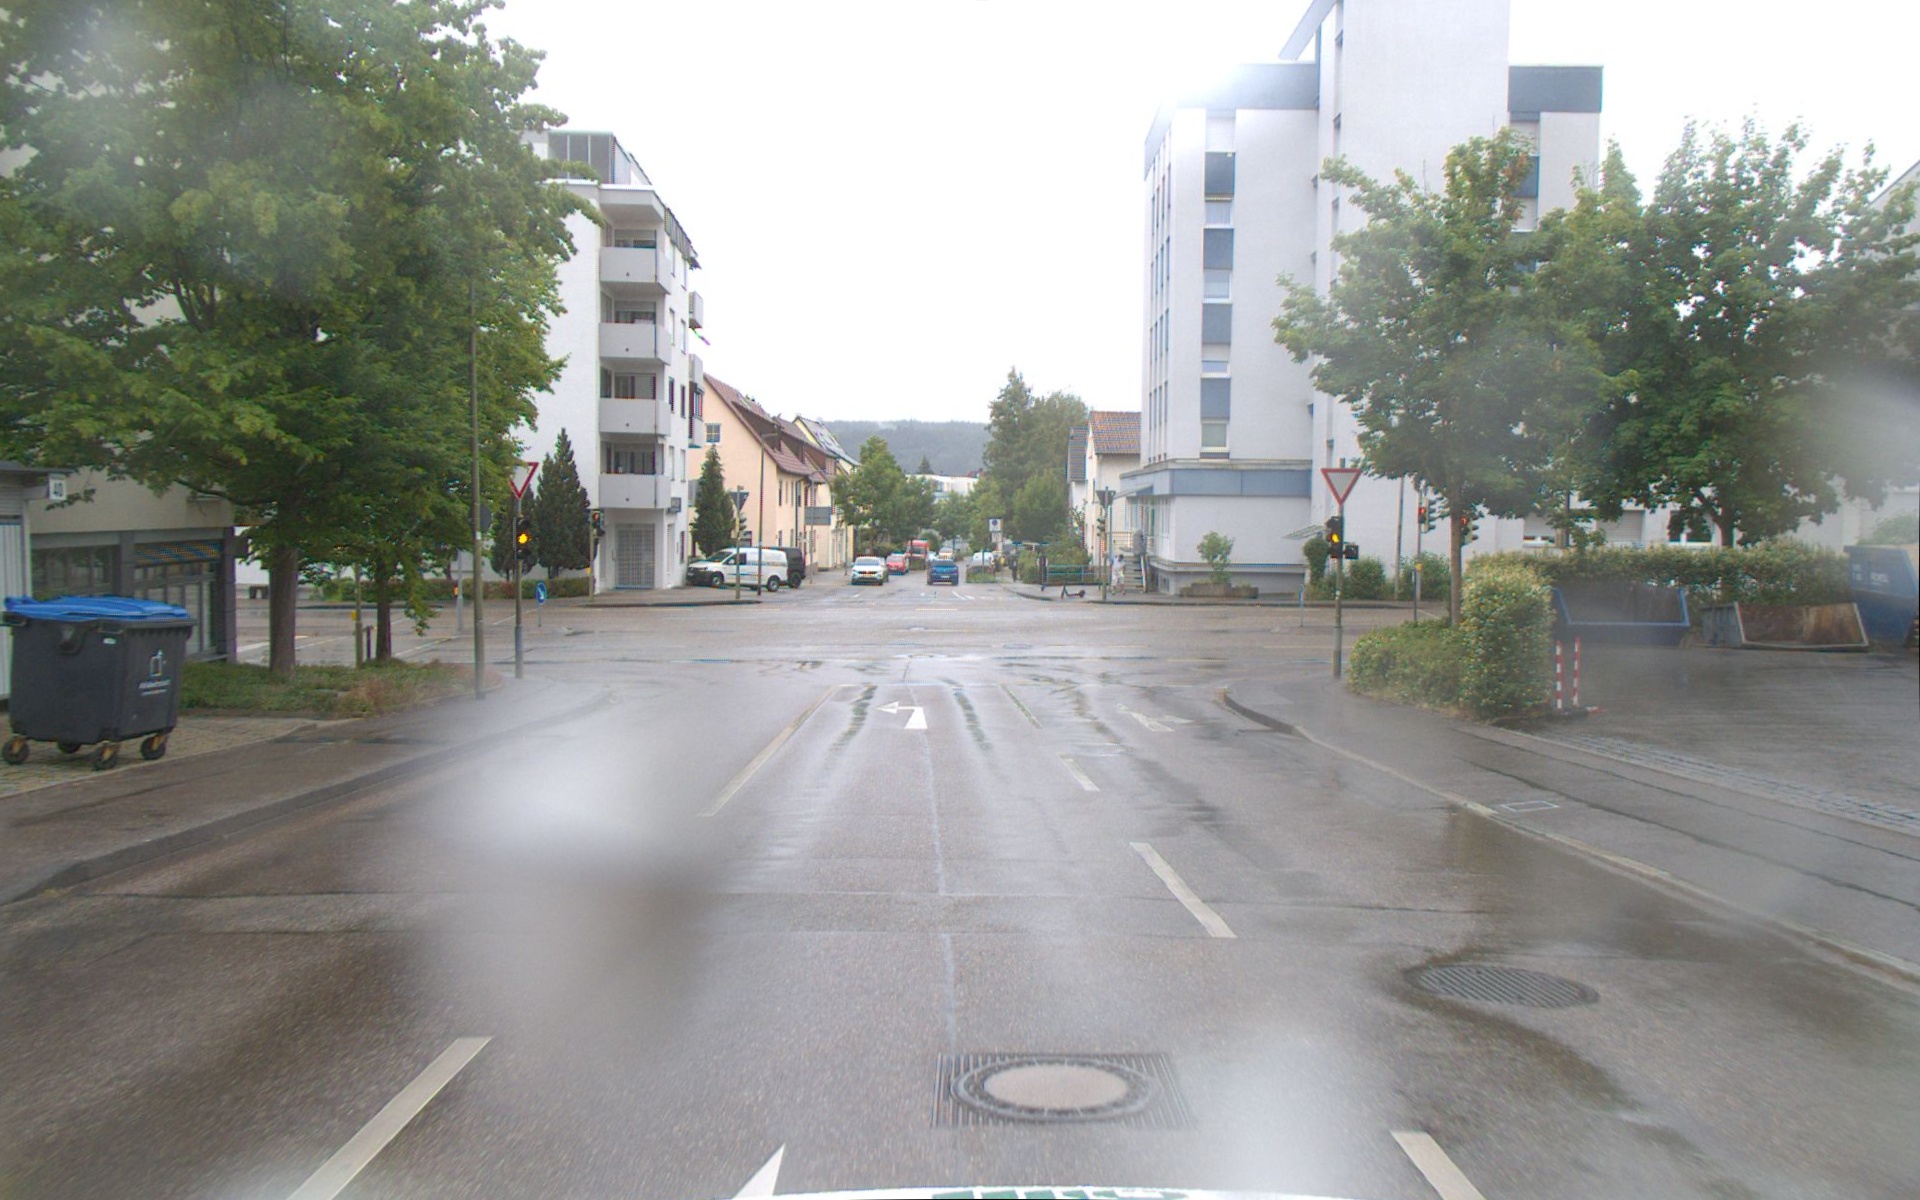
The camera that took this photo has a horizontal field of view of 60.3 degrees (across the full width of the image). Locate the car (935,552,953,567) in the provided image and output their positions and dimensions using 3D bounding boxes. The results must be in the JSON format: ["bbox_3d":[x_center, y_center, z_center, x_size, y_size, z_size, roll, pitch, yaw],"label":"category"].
[{"bbox_3d":[-1.761,-4.409,180.745,1.862,1.586,4.192,-1,1,0],"label":"car"}]

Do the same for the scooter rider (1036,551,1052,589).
[{"bbox_3d":[4.123,-1.486,81.487,0.737,1.827,0.673,-1,1,-1],"label":"scooter rider"}]

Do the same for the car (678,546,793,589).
[{"bbox_3d":[-9.970,-1.459,73.627,4.797,1.867,1.972,-2,2,-39],"label":"car"}]

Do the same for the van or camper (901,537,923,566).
[{"bbox_3d":[-4.444,-4.478,153.180,1.862,2.557,4.239,-1,1,0],"label":"van or camper"}]

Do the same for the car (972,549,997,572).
[{"bbox_3d":[1.884,-3.127,129.910,1.862,1.775,4.192,-1,1,0],"label":"car"}]

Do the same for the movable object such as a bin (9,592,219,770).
[{"bbox_3d":[-6.975,0.639,13.718,1.050,1.371,1.318,2,0,-3],"label":"movable object such as a bin"}]

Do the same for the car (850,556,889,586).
[{"bbox_3d":[-5.142,-1.660,94.004,1.953,1.654,4.192,-1,1,0],"label":"car"}]

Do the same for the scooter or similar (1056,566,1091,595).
[{"bbox_3d":[4.448,-0.753,64.805,1.243,1.100,0.876,-1,1,-5],"label":"scooter or similar"}]

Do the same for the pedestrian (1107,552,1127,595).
[{"bbox_3d":[6.268,-1.069,65.988,0.635,1.676,0.525,3,0,-7],"label":"pedestrian"}]

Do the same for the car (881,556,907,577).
[{"bbox_3d":[-5.197,-2.657,130.461,1.862,1.586,4.192,-1,1,0],"label":"car"}]

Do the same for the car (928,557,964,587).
[{"bbox_3d":[-0.844,-1.678,97.211,1.953,1.713,3.999,-1,1,-2],"label":"car"}]

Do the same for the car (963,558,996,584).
[{"bbox_3d":[1.266,-1.926,107.782,2.102,1.617,4.128,-1,1,0],"label":"car"}]

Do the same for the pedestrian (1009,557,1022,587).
[{"bbox_3d":[3.577,-1.794,106.960,0.730,1.881,0.526,3,0,2],"label":"pedestrian"}]
